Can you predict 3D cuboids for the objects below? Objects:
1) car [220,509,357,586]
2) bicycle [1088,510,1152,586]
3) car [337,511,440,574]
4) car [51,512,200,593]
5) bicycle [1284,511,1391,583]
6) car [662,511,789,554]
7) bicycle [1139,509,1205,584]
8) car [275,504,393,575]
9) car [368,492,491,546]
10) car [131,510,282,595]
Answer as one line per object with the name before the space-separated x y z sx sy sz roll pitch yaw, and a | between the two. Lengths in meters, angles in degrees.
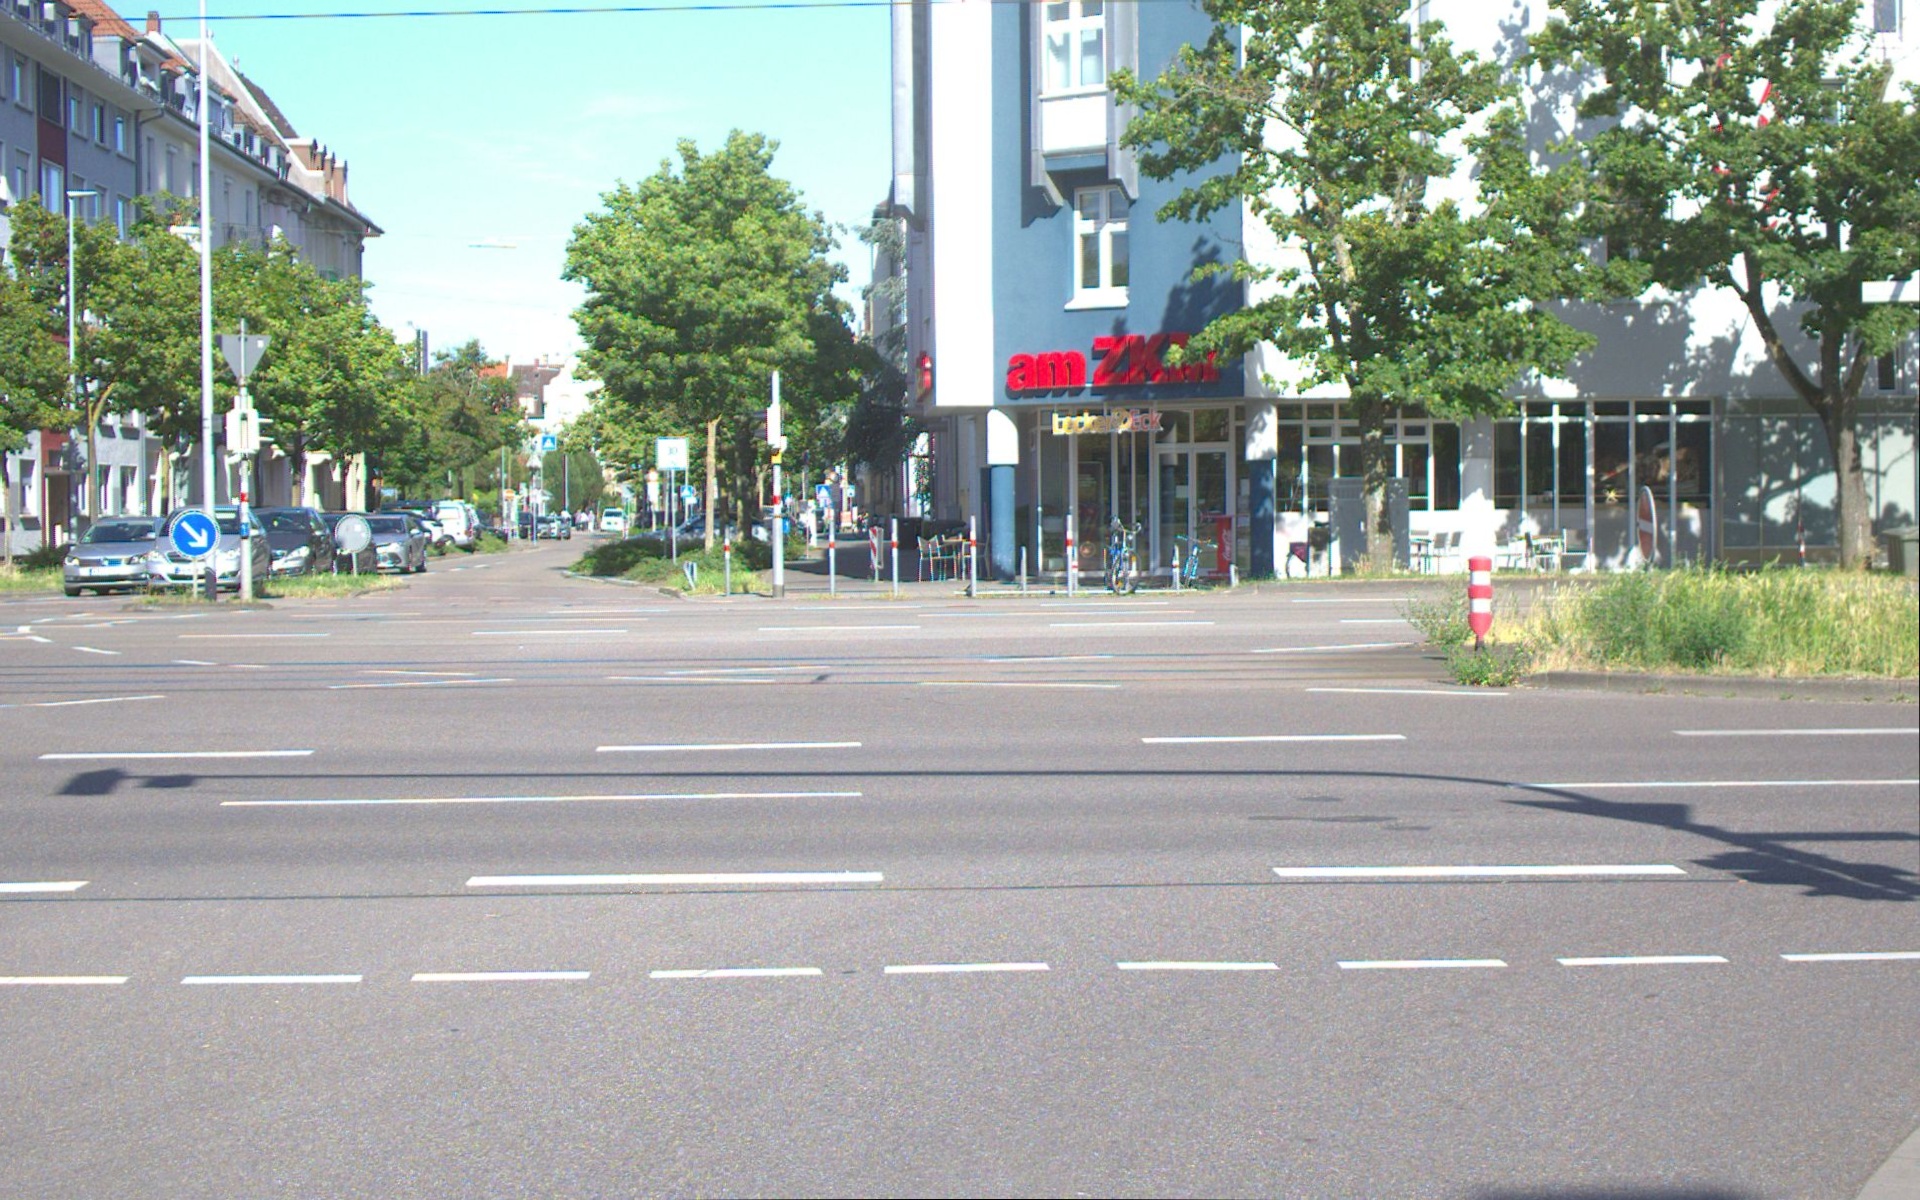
car | -13.260 -1.056 68.138 1.688 1.427 4.400 2 1 2
bicycle | 2.207 -0.725 47.491 0.471 1.023 1.517 -1 2 -13
car | -13.841 -1.409 83.450 1.688 1.427 4.400 2 1 0
car | -15.672 -0.915 64.758 1.688 1.427 4.400 2 1 0
bicycle | 5.472 -0.771 49.839 1.512 1.023 0.473 -1 1 9
car | -6.876 -1.966 100.601 3.566 1.219 1.731 0 1 -9
bicycle | 2.961 -0.756 48.031 0.471 1.023 1.517 -1 2 -14
car | -13.500 -1.317 74.397 1.688 1.427 4.400 2 1 0
car | -20.219 -3.078 131.081 4.504 2.007 2.000 0 0 -4
car | -13.486 -0.871 61.783 1.688 1.427 4.400 2 1 0
